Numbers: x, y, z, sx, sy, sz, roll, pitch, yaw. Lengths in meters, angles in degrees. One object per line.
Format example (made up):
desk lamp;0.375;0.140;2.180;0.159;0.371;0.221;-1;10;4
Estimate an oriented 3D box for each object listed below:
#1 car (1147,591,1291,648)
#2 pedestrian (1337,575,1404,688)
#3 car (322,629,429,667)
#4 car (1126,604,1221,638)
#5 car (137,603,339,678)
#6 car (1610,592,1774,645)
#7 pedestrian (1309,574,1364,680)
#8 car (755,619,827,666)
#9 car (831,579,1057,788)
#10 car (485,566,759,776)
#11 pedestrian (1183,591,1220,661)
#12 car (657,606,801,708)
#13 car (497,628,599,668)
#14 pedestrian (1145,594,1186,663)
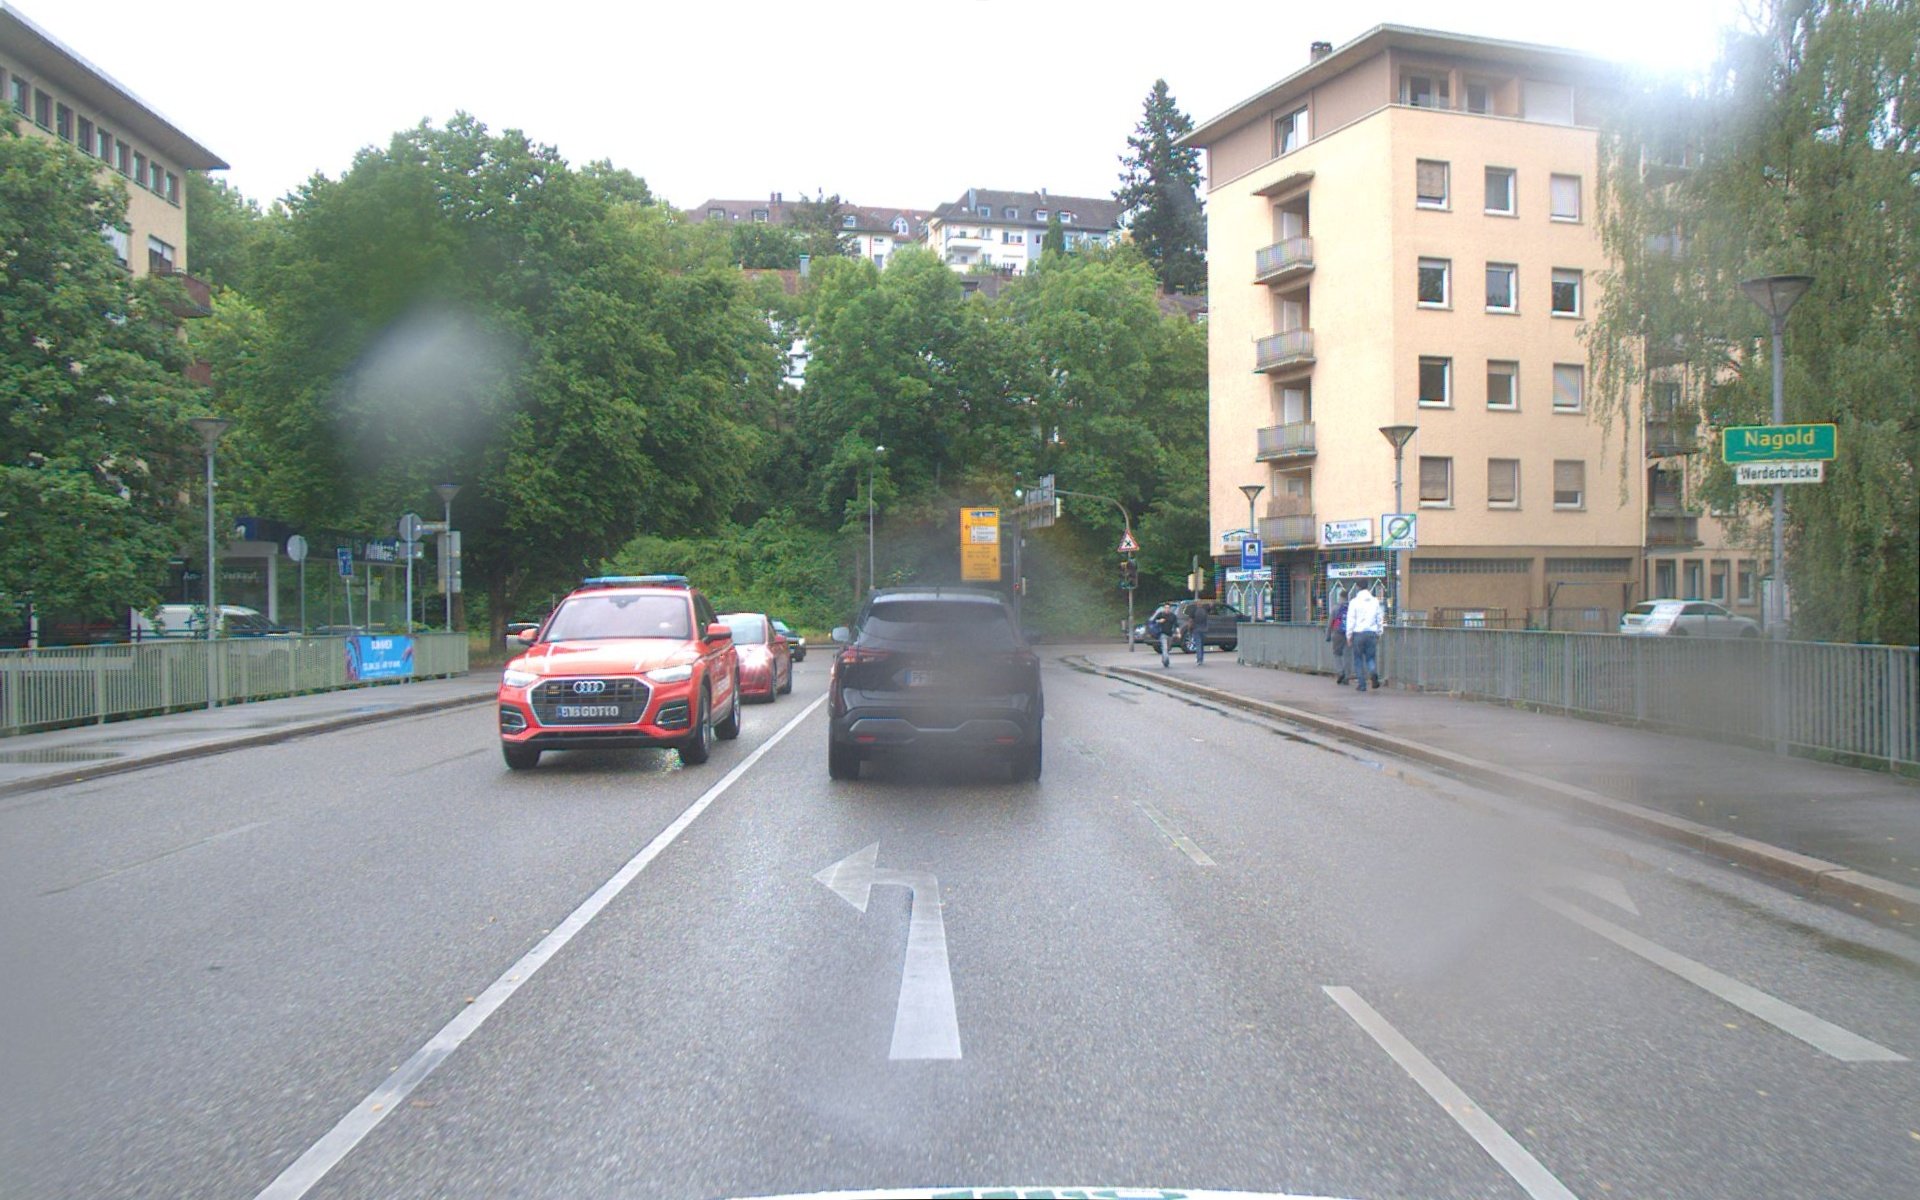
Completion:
car;8.357;0.630;53.380;4.315;1.678;1.867;-2;-1;-27
pedestrian;6.628;0.505;26.747;0.764;1.783;1.060;-1;-1;-2
car;-25.192;2.053;71.403;4.003;1.441;1.712;-2;0;-7
car;10.561;1.033;81.833;4.249;1.528;1.877;-2;-1;-13
car;-19.525;1.081;44.938;4.655;1.886;1.996;0;1;-10
car;21.583;0.521;48.775;4.370;1.400;1.808;-1;2;-18
pedestrian;6.658;0.475;29.300;0.745;1.840;0.781;-2;0;-1
car;-5.744;1.408;55.851;1.682;1.441;4.074;-2;0;-17
car;-0.164;0.671;15.042;1.774;1.631;3.999;1;0;-1
car;-3.196;0.611;16.533;1.850;1.765;4.370;-2;0;-1
pedestrian;6.071;0.649;41.637;0.745;1.706;0.781;-2;0;-1
car;-3.656;0.861;26.836;1.745;1.427;4.218;-2;0;-1
car;-16.060;1.861;64.582;3.602;1.444;1.629;-1;-1;-6
pedestrian;5.077;0.695;40.874;0.845;1.647;0.839;-2;-1;-1
